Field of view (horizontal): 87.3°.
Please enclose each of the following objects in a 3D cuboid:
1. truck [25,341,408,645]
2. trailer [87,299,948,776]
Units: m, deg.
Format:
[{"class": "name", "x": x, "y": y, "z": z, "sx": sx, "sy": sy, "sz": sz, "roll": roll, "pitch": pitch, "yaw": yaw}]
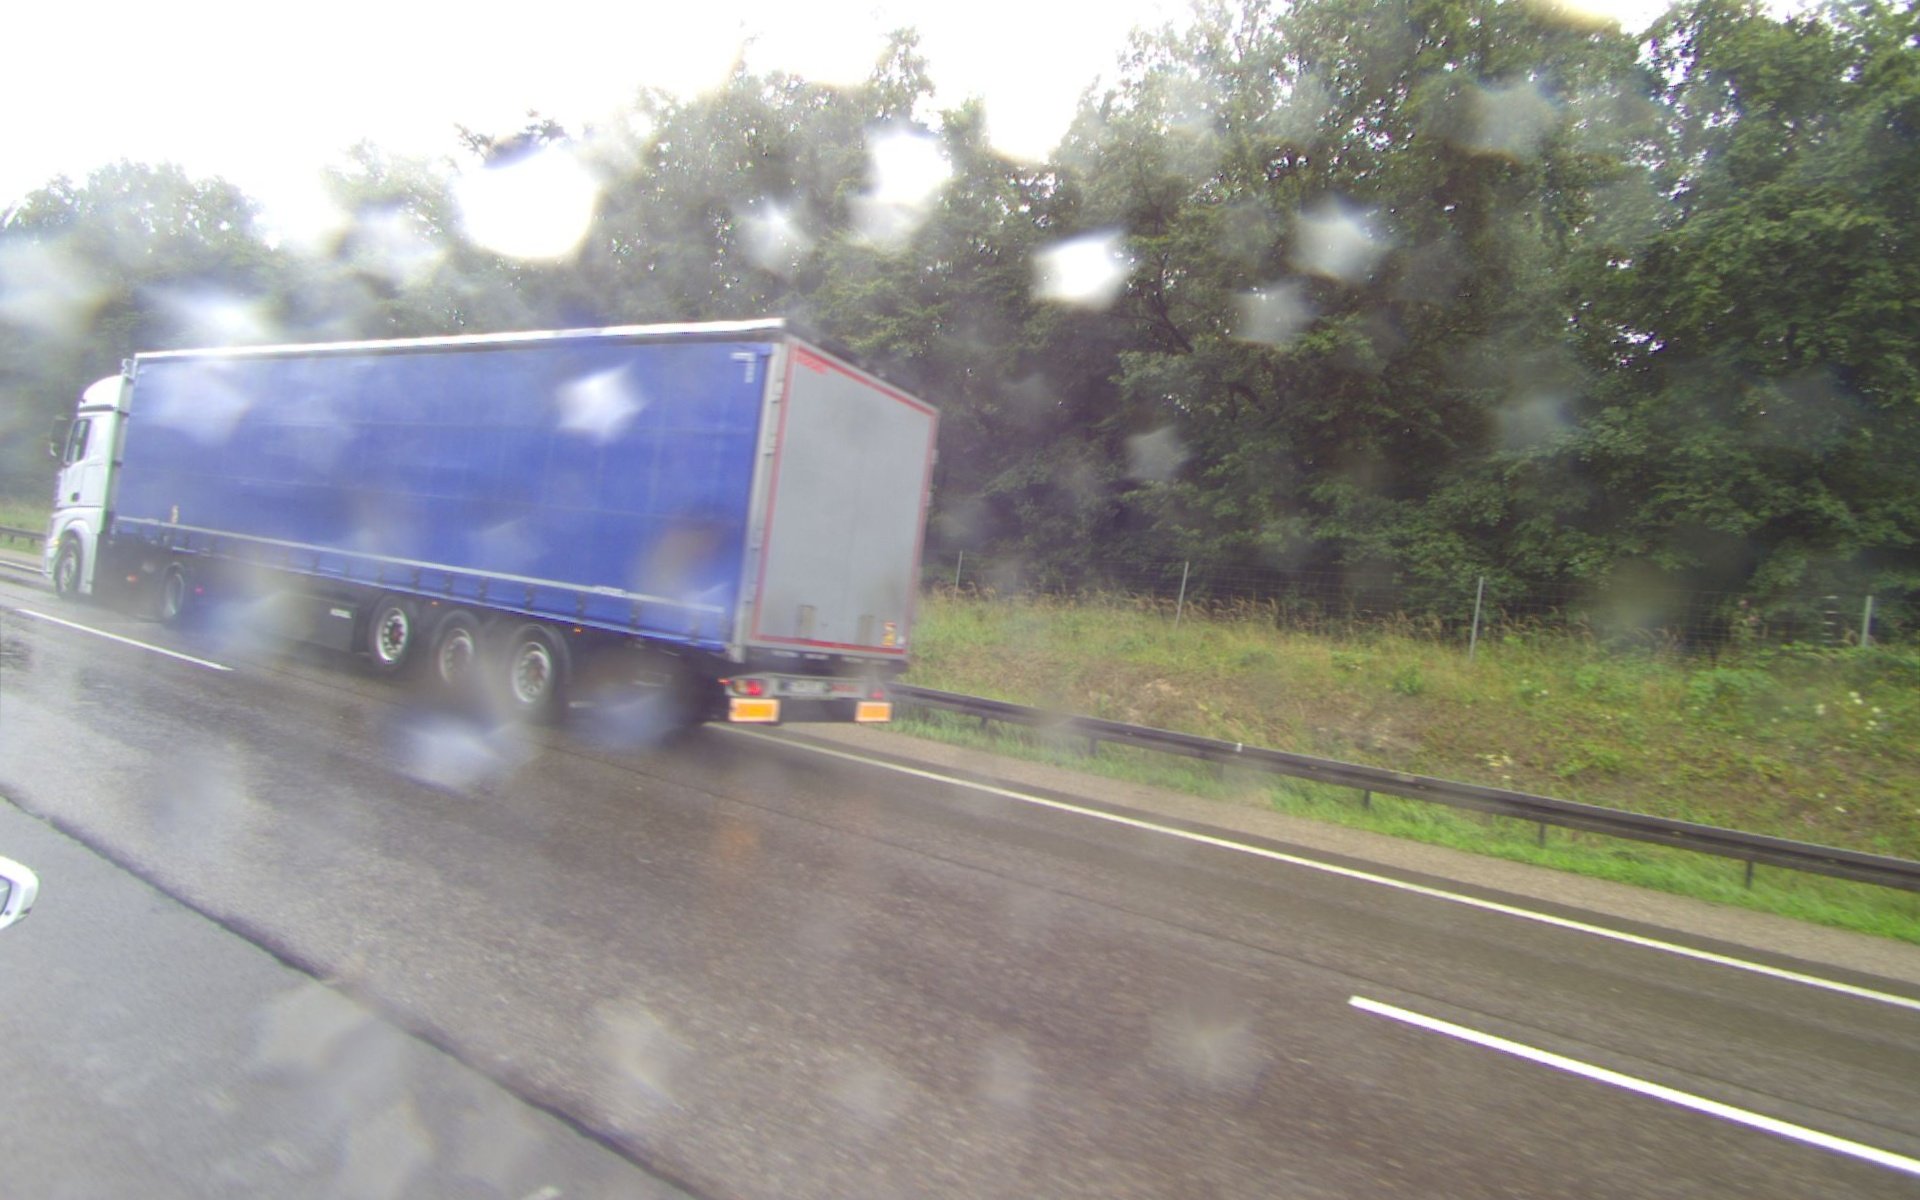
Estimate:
[{"class": "truck", "x": -12.270, "y": -1.718, "z": 16.495, "sx": 5.912, "sy": 4.060, "sz": 2.607, "roll": 7, "pitch": -1, "yaw": 31}, {"class": "trailer", "x": -6.755, "y": -1.076, "z": 13.075, "sx": 13.485, "sy": 4.060, "sz": 2.559, "roll": 7, "pitch": -1, "yaw": 31}]
